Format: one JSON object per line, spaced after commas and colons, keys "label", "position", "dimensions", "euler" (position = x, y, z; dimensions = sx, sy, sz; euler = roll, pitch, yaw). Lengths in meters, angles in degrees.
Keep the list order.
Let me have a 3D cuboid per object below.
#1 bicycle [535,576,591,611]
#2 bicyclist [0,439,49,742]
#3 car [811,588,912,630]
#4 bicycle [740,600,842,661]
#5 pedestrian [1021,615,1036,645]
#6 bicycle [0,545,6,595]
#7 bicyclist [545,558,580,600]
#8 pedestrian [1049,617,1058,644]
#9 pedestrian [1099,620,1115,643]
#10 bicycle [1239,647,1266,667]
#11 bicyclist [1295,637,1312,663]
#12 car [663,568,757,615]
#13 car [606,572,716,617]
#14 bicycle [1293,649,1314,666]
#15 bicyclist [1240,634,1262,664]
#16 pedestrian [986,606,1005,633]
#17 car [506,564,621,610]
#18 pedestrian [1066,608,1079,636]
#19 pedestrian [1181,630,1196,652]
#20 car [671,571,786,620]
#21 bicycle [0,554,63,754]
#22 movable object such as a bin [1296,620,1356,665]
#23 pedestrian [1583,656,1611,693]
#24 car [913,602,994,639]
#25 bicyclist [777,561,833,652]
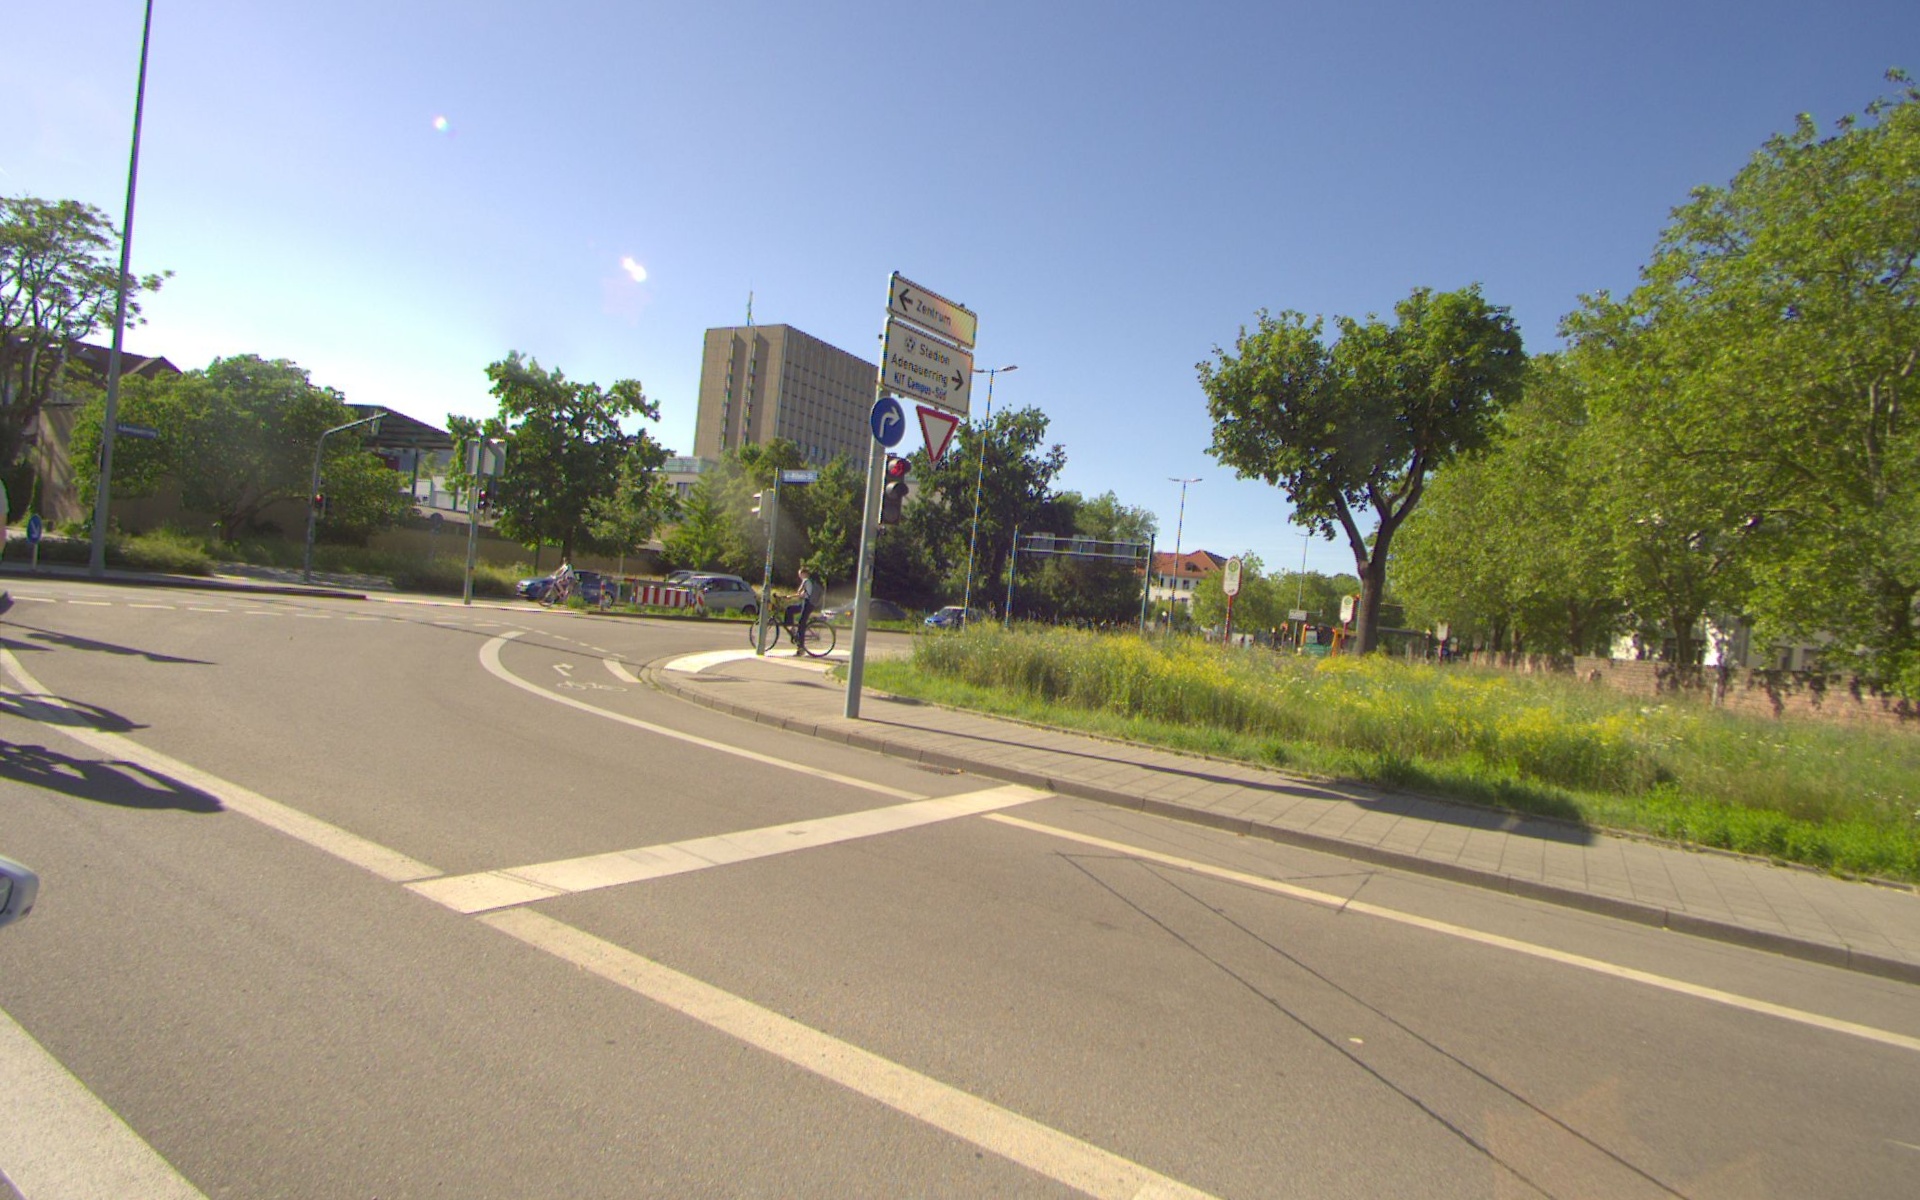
{"label": "bicycle", "position": [-13.941, -0.229, 35.364], "dimensions": [0.602, 1.046, 1.681], "euler": [7, 0, 37]}
{"label": "bicyclist", "position": [-6.320, -0.116, 6.153], "dimensions": [1.123, 1.813, 0.684], "euler": [7, 0, 32]}
{"label": "car", "position": [-4.313, 0.433, 44.634], "dimensions": [1.767, 1.415, 4.557], "euler": [7, 0, 37]}
{"label": "bicycle", "position": [-3.295, 0.590, 19.681], "dimensions": [1.856, 0.970, 0.635], "euler": [7, 1, -10]}
{"label": "pedestrian", "position": [5.848, 2.561, 85.520], "dimensions": [0.660, 2.451, 0.770], "euler": [6, -1, 34]}
{"label": "bicycle", "position": [-8.207, 0.022, 7.761], "dimensions": [1.890, 1.102, 0.690], "euler": [6, -1, 32]}
{"label": "bicyclist", "position": [-13.939, -0.724, 35.287], "dimensions": [0.602, 1.360, 0.874], "euler": [7, 1, 37]}
{"label": "pedestrian", "position": [8.415, 2.743, 90.417], "dimensions": [0.401, 2.451, 0.467], "euler": [6, -1, 34]}
{"label": "pedestrian", "position": [13.790, 2.985, 94.437], "dimensions": [0.752, 2.039, 1.267], "euler": [7, 1, 36]}
{"label": "bicycle", "position": [15.873, 3.076, 54.613], "dimensions": [0.640, 0.986, 1.895], "euler": [7, 1, 39]}
{"label": "bicyclist", "position": [21.211, 3.067, 62.104], "dimensions": [0.509, 1.548, 1.067], "euler": [7, 2, 39]}
{"label": "car", "position": [-11.846, -0.369, 47.800], "dimensions": [1.767, 1.771, 3.986], "euler": [7, 0, 37]}
{"label": "car", "position": [-12.304, -0.202, 41.575], "dimensions": [1.767, 1.415, 3.986], "euler": [7, 0, 37]}
{"label": "bicycle", "position": [21.215, 3.556, 62.183], "dimensions": [0.514, 1.000, 1.965], "euler": [7, 1, 39]}
{"label": "bicyclist", "position": [15.736, 2.655, 54.379], "dimensions": [0.632, 1.533, 1.049], "euler": [7, 2, 39]}
{"label": "pedestrian", "position": [2.886, 1.611, 81.780], "dimensions": [0.752, 2.039, 1.267], "euler": [7, 1, 36]}
{"label": "car", "position": [-16.215, -0.528, 41.323], "dimensions": [1.767, 1.415, 3.986], "euler": [7, 0, 37]}
{"label": "pedestrian", "position": [10.272, 2.041, 91.633], "dimensions": [0.710, 2.451, 0.585], "euler": [6, -1, 34]}
{"label": "pedestrian", "position": [24.942, 4.474, 109.823], "dimensions": [0.937, 2.318, 1.090], "euler": [6, -1, 34]}
{"label": "car", "position": [-8.744, -0.132, 38.293], "dimensions": [1.767, 1.415, 3.986], "euler": [7, 0, 37]}
{"label": "bicycle", "position": [-6.323, 0.234, 6.128], "dimensions": [1.890, 1.102, 0.690], "euler": [6, -1, 32]}
{"label": "movable object such as a bin", "position": [28.015, 3.336, 76.717], "dimensions": [2.954, 2.898, 9.178], "euler": [6, 0, 27]}
{"label": "pedestrian", "position": [26.796, 3.140, 42.308], "dimensions": [0.712, 1.460, 0.523], "euler": [7, -1, 2]}
{"label": "car", "position": [-0.298, 1.047, 50.461], "dimensions": [1.916, 1.415, 3.986], "euler": [6, 0, 37]}
{"label": "bicyclist", "position": [-3.042, 0.123, 19.709], "dimensions": [0.898, 1.667, 0.630], "euler": [6, 1, -9]}
